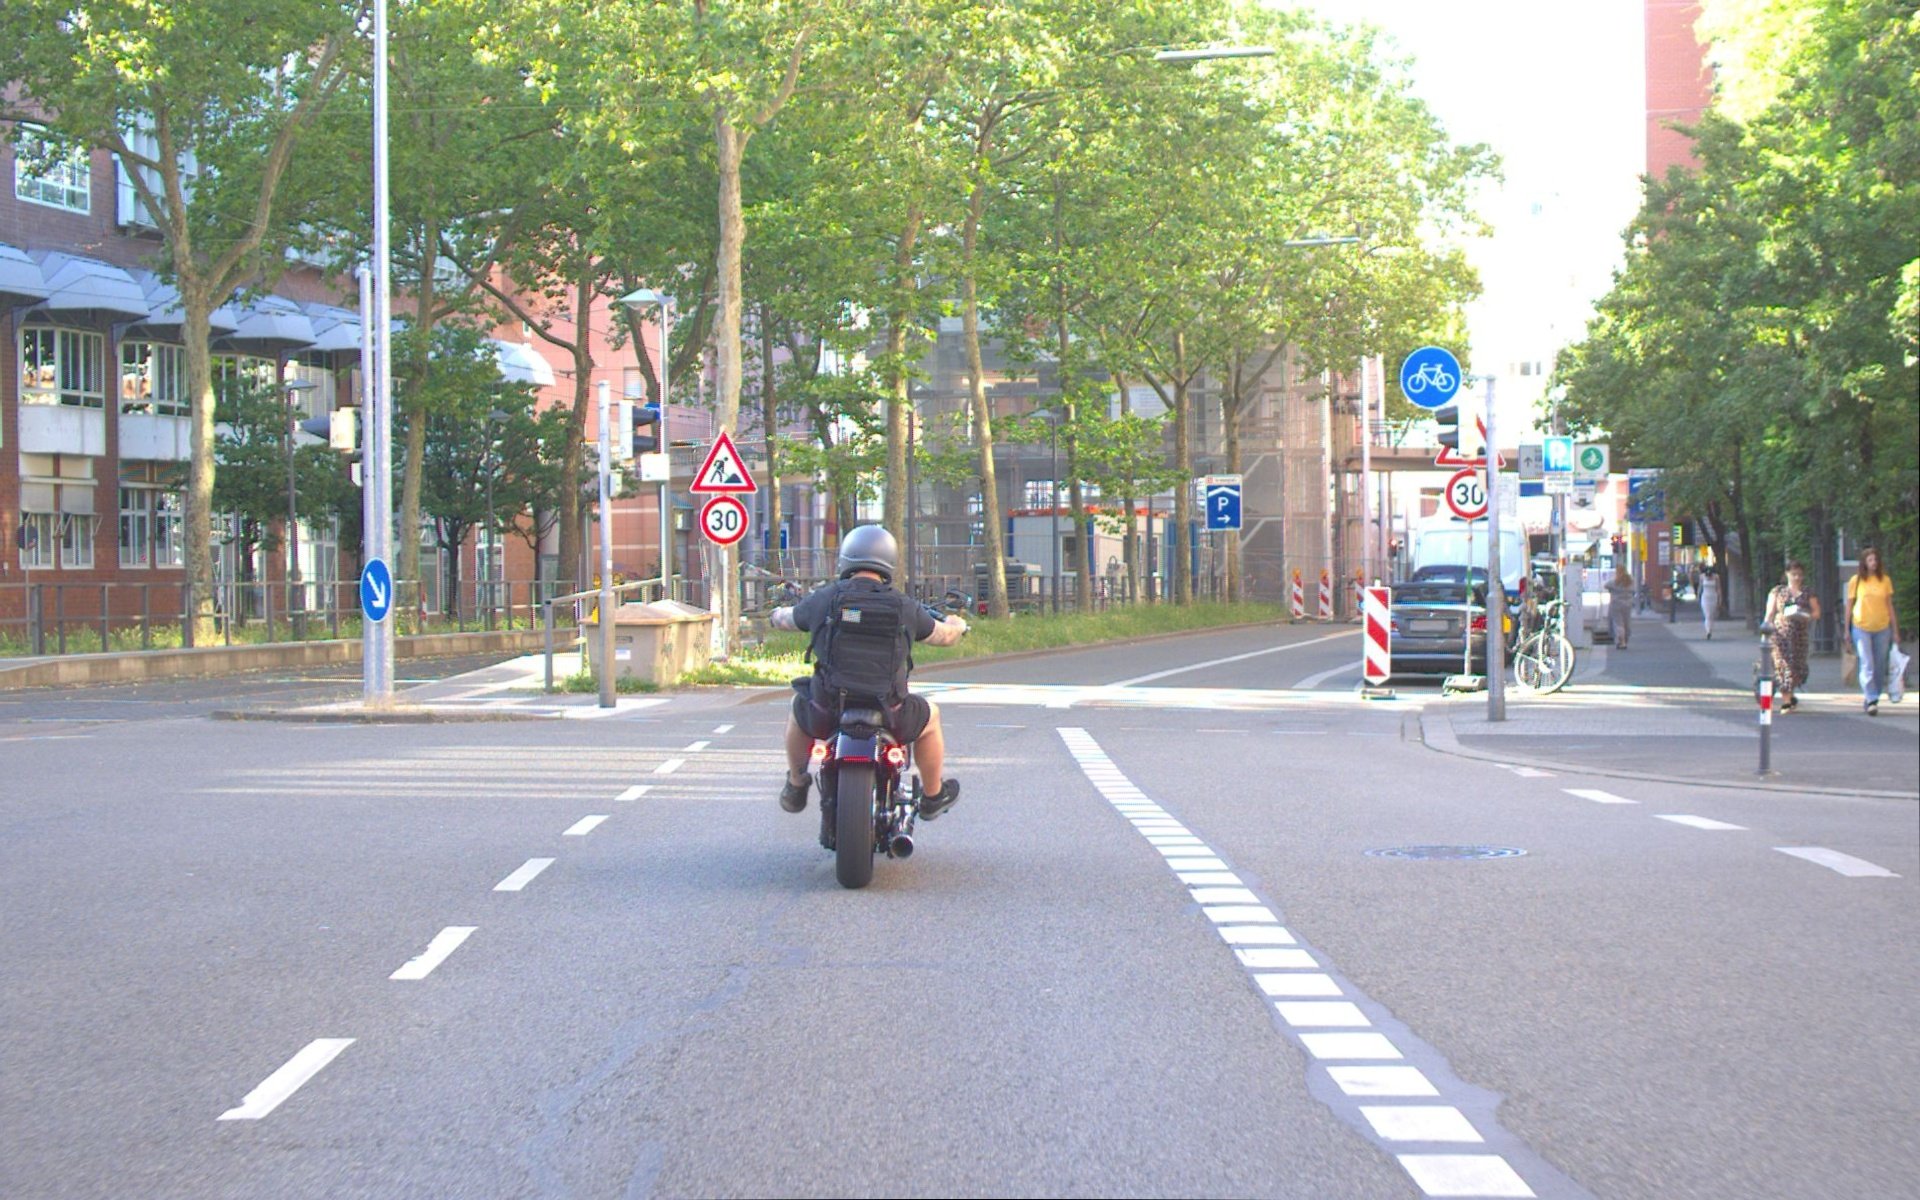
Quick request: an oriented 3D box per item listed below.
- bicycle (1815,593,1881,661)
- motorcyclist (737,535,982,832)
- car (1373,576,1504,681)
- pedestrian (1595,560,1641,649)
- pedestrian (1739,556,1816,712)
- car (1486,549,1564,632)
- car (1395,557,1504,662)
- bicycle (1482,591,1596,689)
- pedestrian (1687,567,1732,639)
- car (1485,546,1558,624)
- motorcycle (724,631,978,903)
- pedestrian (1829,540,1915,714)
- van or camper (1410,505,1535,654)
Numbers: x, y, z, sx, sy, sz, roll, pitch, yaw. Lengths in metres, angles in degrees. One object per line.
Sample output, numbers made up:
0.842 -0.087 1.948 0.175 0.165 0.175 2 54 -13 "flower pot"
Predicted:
13.755 0.412 53.294 0.617 1.017 1.914 0 1 3 "bicycle"
-0.435 0.357 15.340 1.012 1.258 0.774 2 1 2 "motorcyclist"
6.320 0.343 45.265 1.621 1.298 4.310 0 1 9 "car"
12.167 0.082 63.557 0.762 1.639 0.547 0 0 3 "pedestrian"
8.308 0.337 34.964 0.644 1.573 0.748 0 0 4 "pedestrian"
13.993 -0.248 85.159 1.836 2.007 4.386 0 1 10 "car"
7.931 0.128 55.459 1.621 1.614 4.483 0 1 10 "car"
6.446 0.435 38.351 0.737 1.049 1.752 0 1 -9 "bicycle"
15.161 0.067 69.560 0.765 1.440 0.780 1 0 5 "pedestrian"
14.888 -0.416 91.121 1.836 2.007 4.386 0 1 10 "car"
-0.451 0.711 15.438 1.018 1.093 2.007 0 1 2 "motorcycle"
9.153 0.266 34.520 0.700 1.727 0.767 0 0 4 "pedestrian"
9.264 -0.378 61.858 2.049 2.532 5.770 0 1 10 "van or camper"
